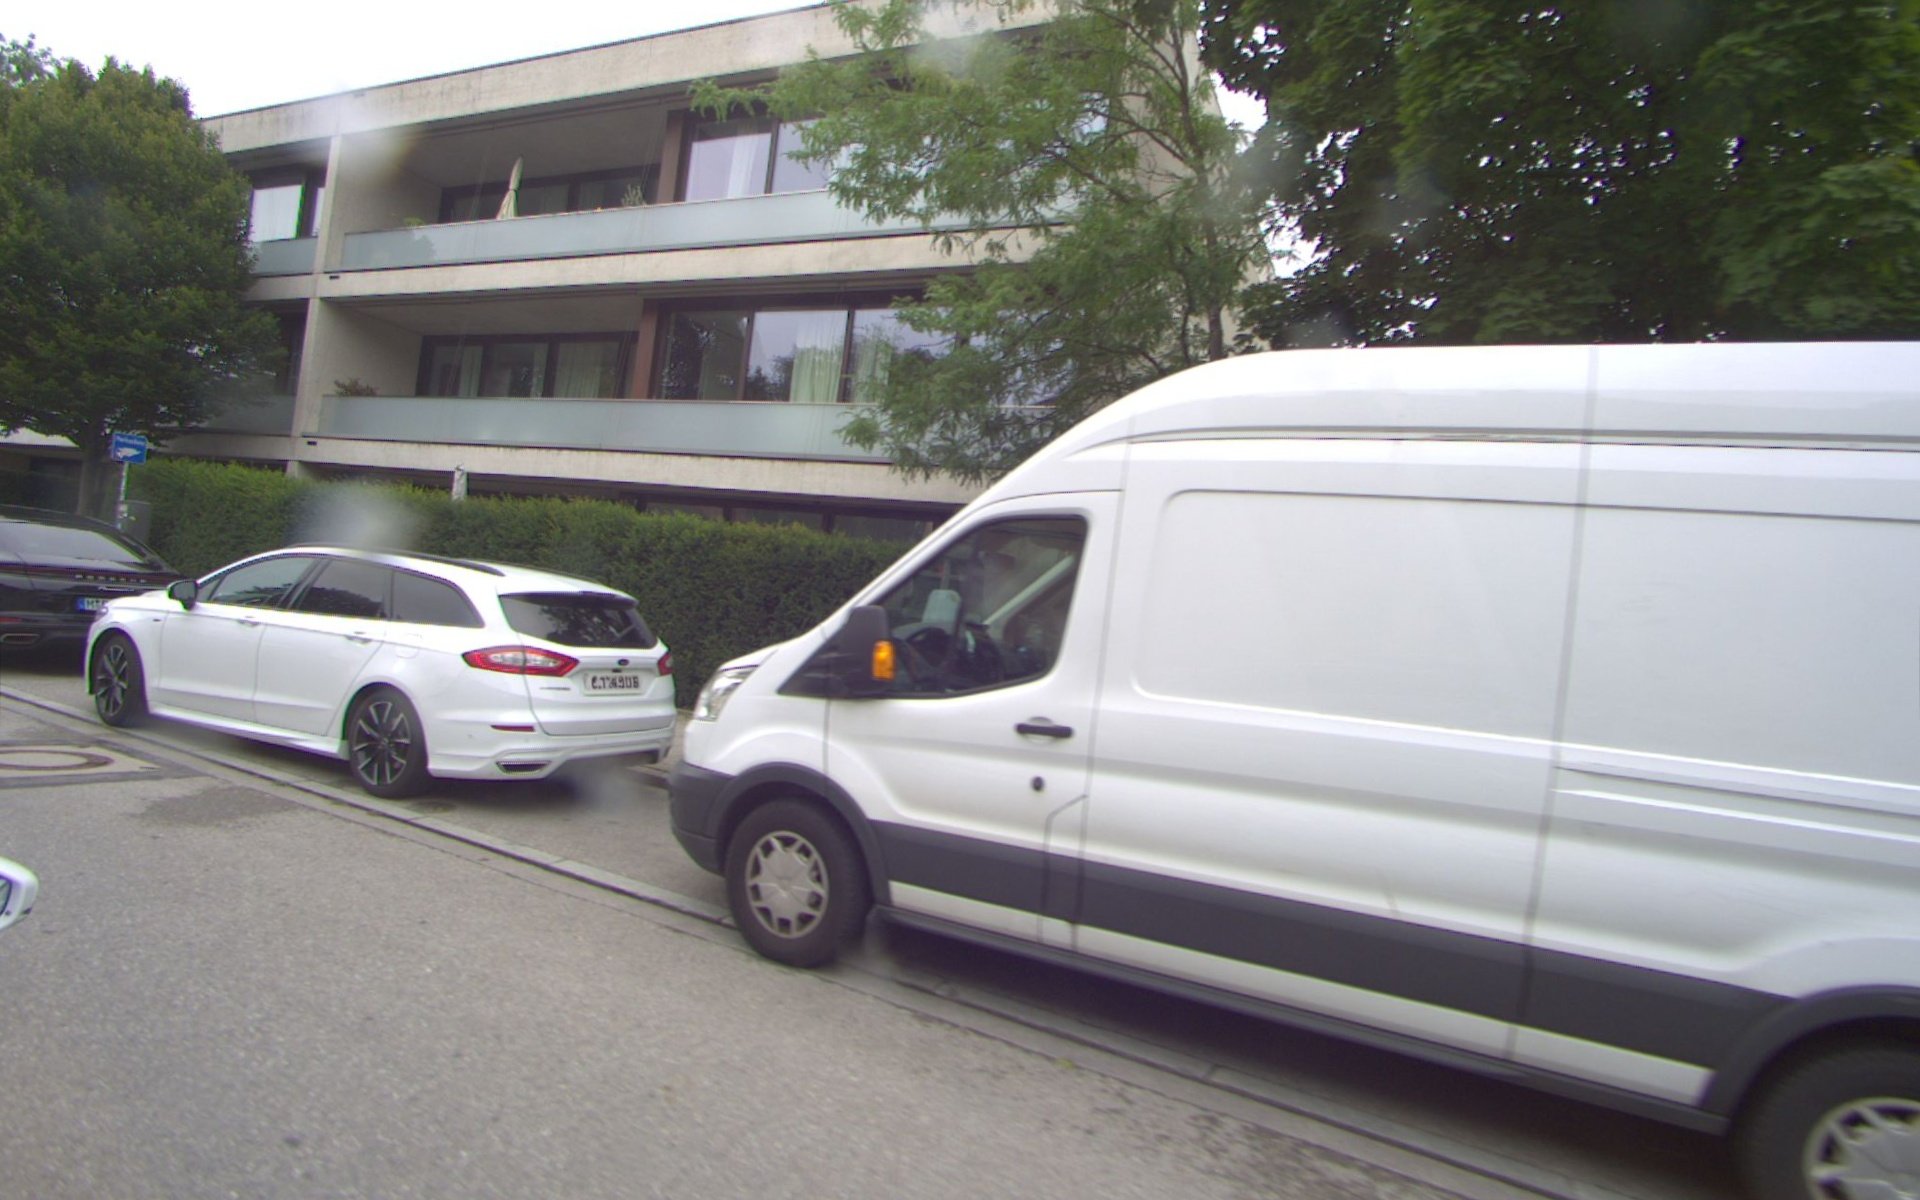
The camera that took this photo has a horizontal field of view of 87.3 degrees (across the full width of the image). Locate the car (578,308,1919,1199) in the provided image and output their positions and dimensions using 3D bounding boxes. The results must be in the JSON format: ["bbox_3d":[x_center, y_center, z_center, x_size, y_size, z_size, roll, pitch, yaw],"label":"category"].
[{"bbox_3d":[1.496,0.436,4.337,5.979,2.721,2.084,8,1,25],"label":"car"}]

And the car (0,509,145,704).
[{"bbox_3d":[-10.021,-0.180,9.688,5.115,1.525,1.283,7,1,26],"label":"car"}]

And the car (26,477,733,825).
[{"bbox_3d":[-4.338,0.208,7.439,4.910,1.589,1.875,8,1,23],"label":"car"}]
